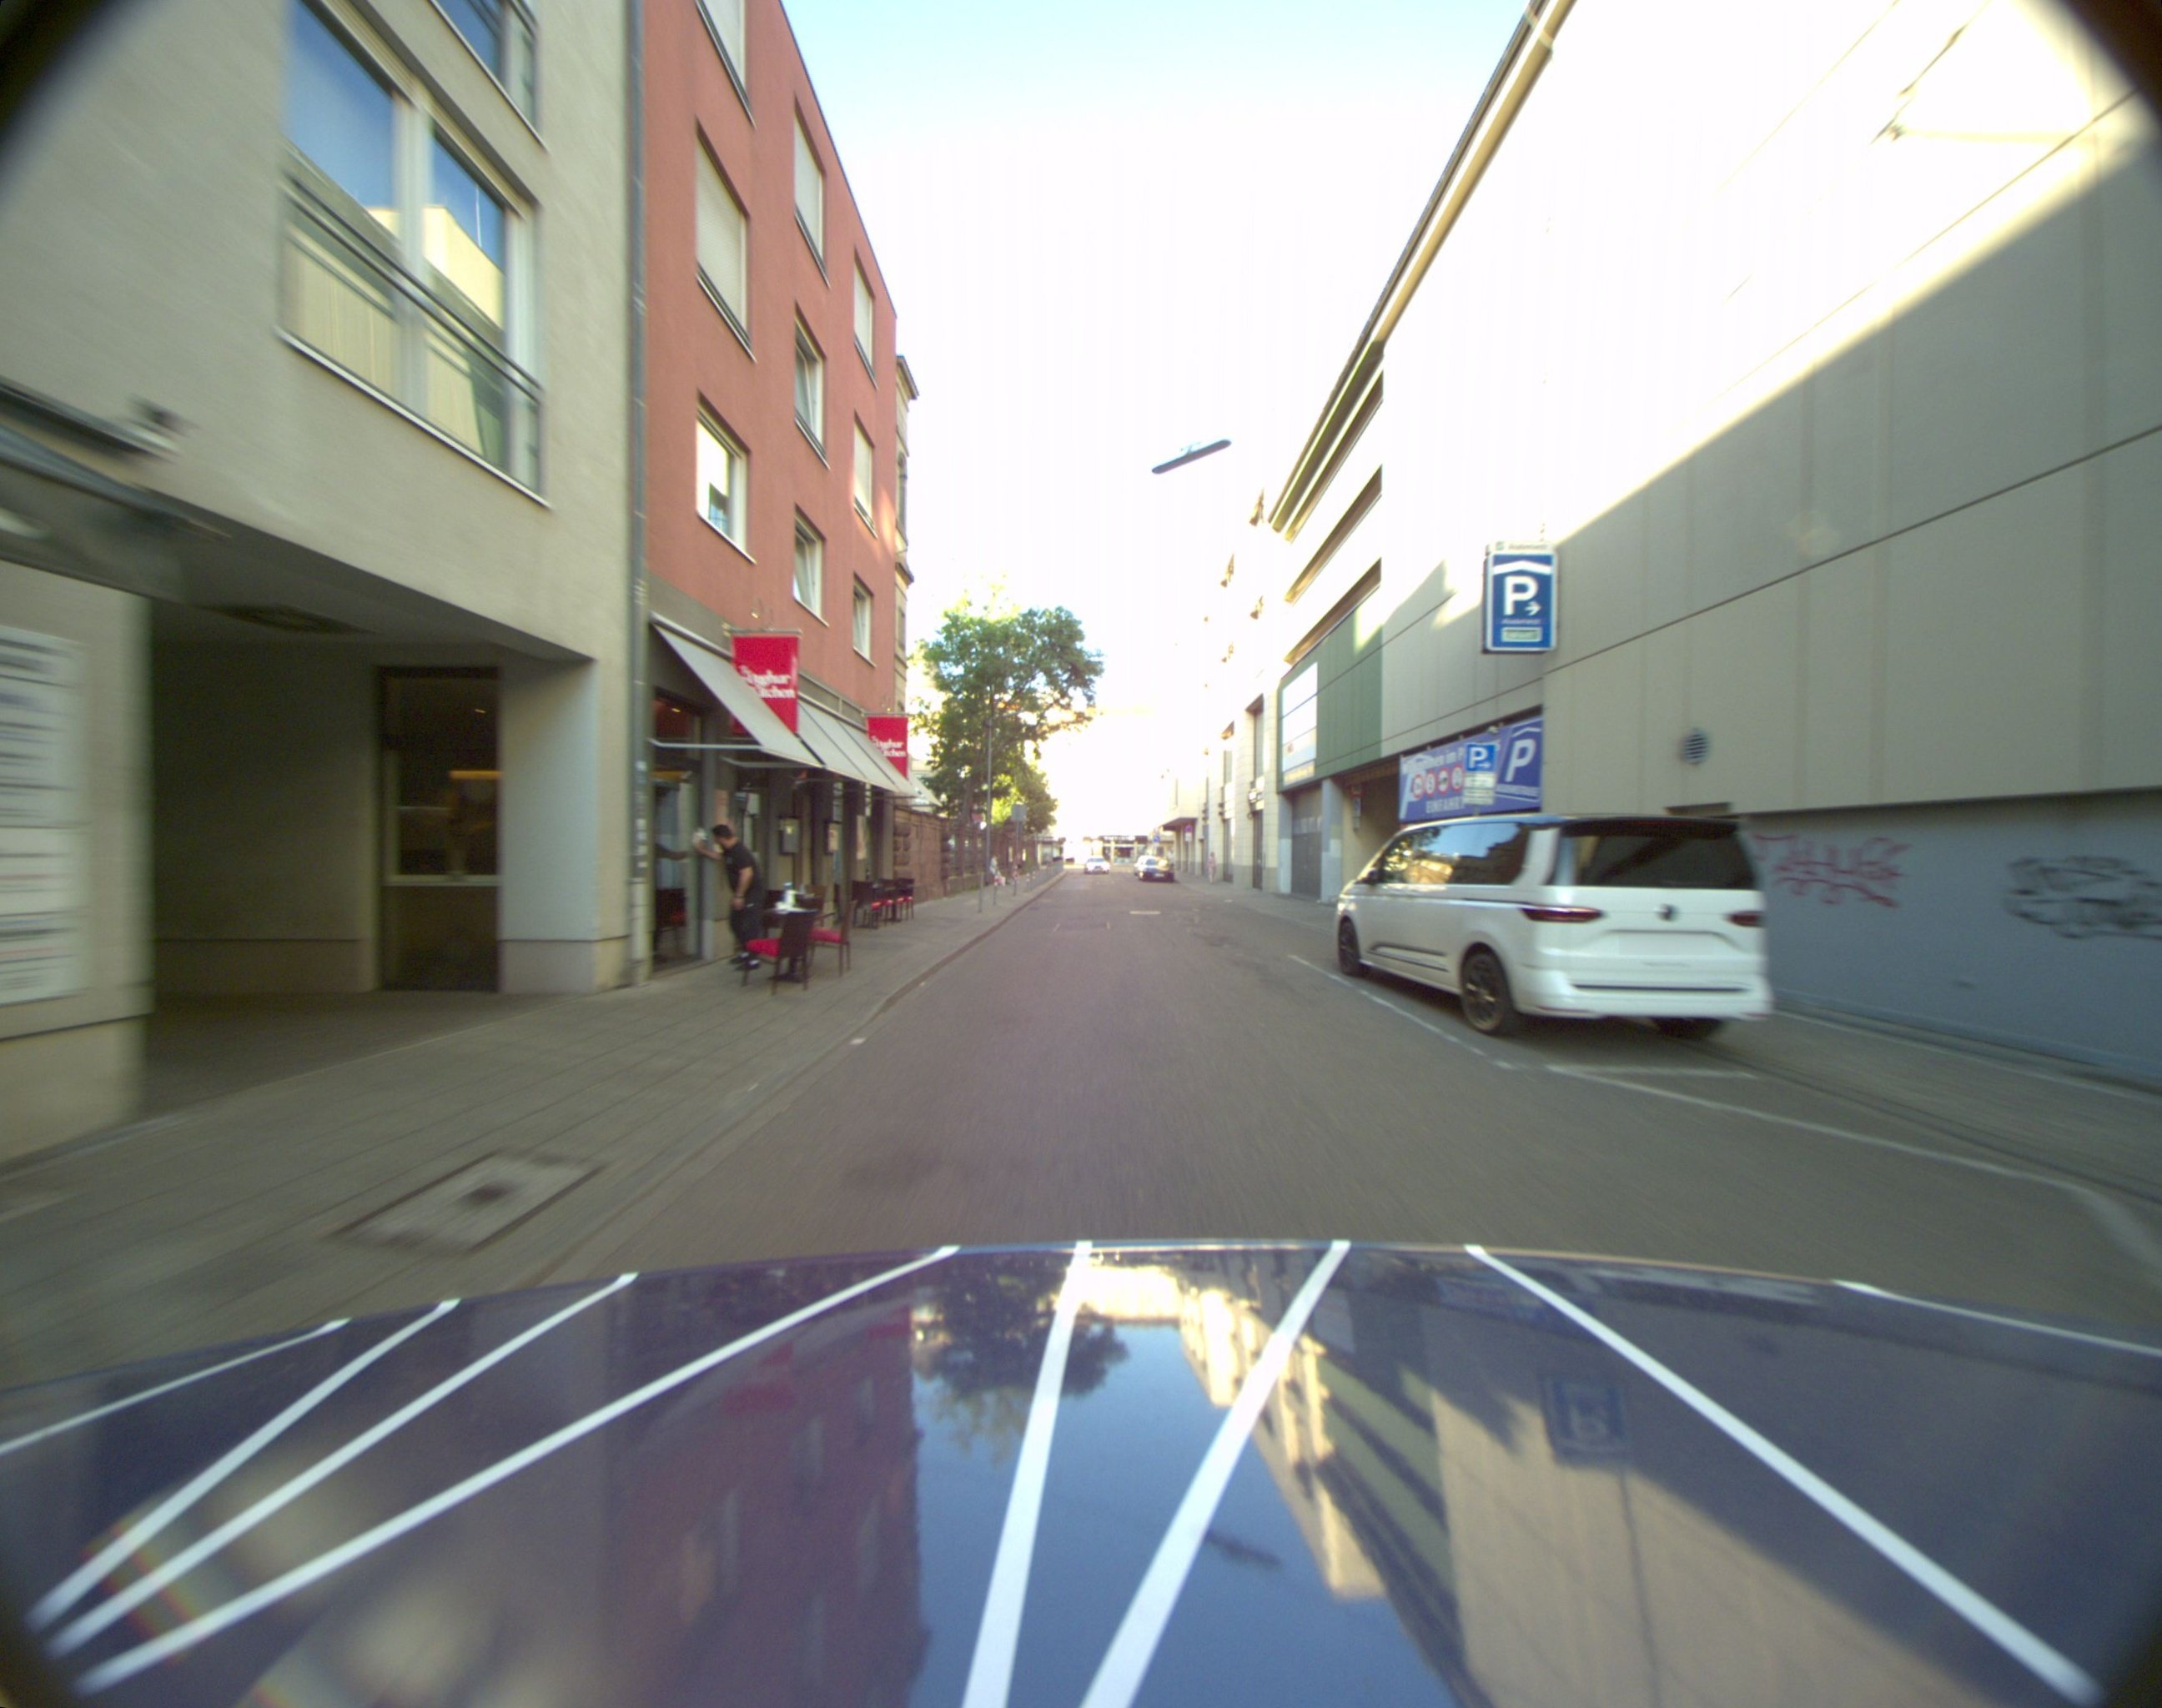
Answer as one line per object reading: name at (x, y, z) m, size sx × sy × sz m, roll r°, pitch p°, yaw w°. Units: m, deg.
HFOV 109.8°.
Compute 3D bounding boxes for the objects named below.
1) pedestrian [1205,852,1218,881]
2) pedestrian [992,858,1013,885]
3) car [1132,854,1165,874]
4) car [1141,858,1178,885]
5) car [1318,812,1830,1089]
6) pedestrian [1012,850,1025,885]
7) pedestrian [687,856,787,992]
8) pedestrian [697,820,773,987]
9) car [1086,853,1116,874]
pedestrian at (7.175, 0.674, 41.845) m, size 0.620 × 1.616 × 0.565 m, roll 0°, pitch 1°, yaw 1°
pedestrian at (-3.673, 0.818, 35.693) m, size 0.928 × 1.242 × 0.362 m, roll 2°, pitch 1°, yaw -2°
car at (4.880, 0.712, 55.333) m, size 1.818 × 1.440 × 3.628 m, roll 0°, pitch 0°, yaw -3°
car at (4.695, 1.000, 45.970) m, size 1.998 × 1.409 × 4.559 m, roll 2°, pitch 1°, yaw 4°
car at (4.287, 0.689, 7.855) m, size 1.999 × 1.928 × 4.849 m, roll 2°, pitch 0°, yaw -1°
pedestrian at (-2.958, 0.630, 35.886) m, size 0.437 × 1.637 × 0.558 m, roll 2°, pitch 1°, yaw 8°
pedestrian at (-3.878, 0.768, 8.615) m, size 0.827 × 1.477 × 0.661 m, roll 1°, pitch 1°, yaw 0°
pedestrian at (-3.900, 0.533, 8.548) m, size 0.661 × 1.782 × 0.729 m, roll 3°, pitch 1°, yaw -26°
car at (1.573, 0.717, 60.387) m, size 1.789 × 1.515 × 3.997 m, roll -2°, pitch 0°, yaw -6°
